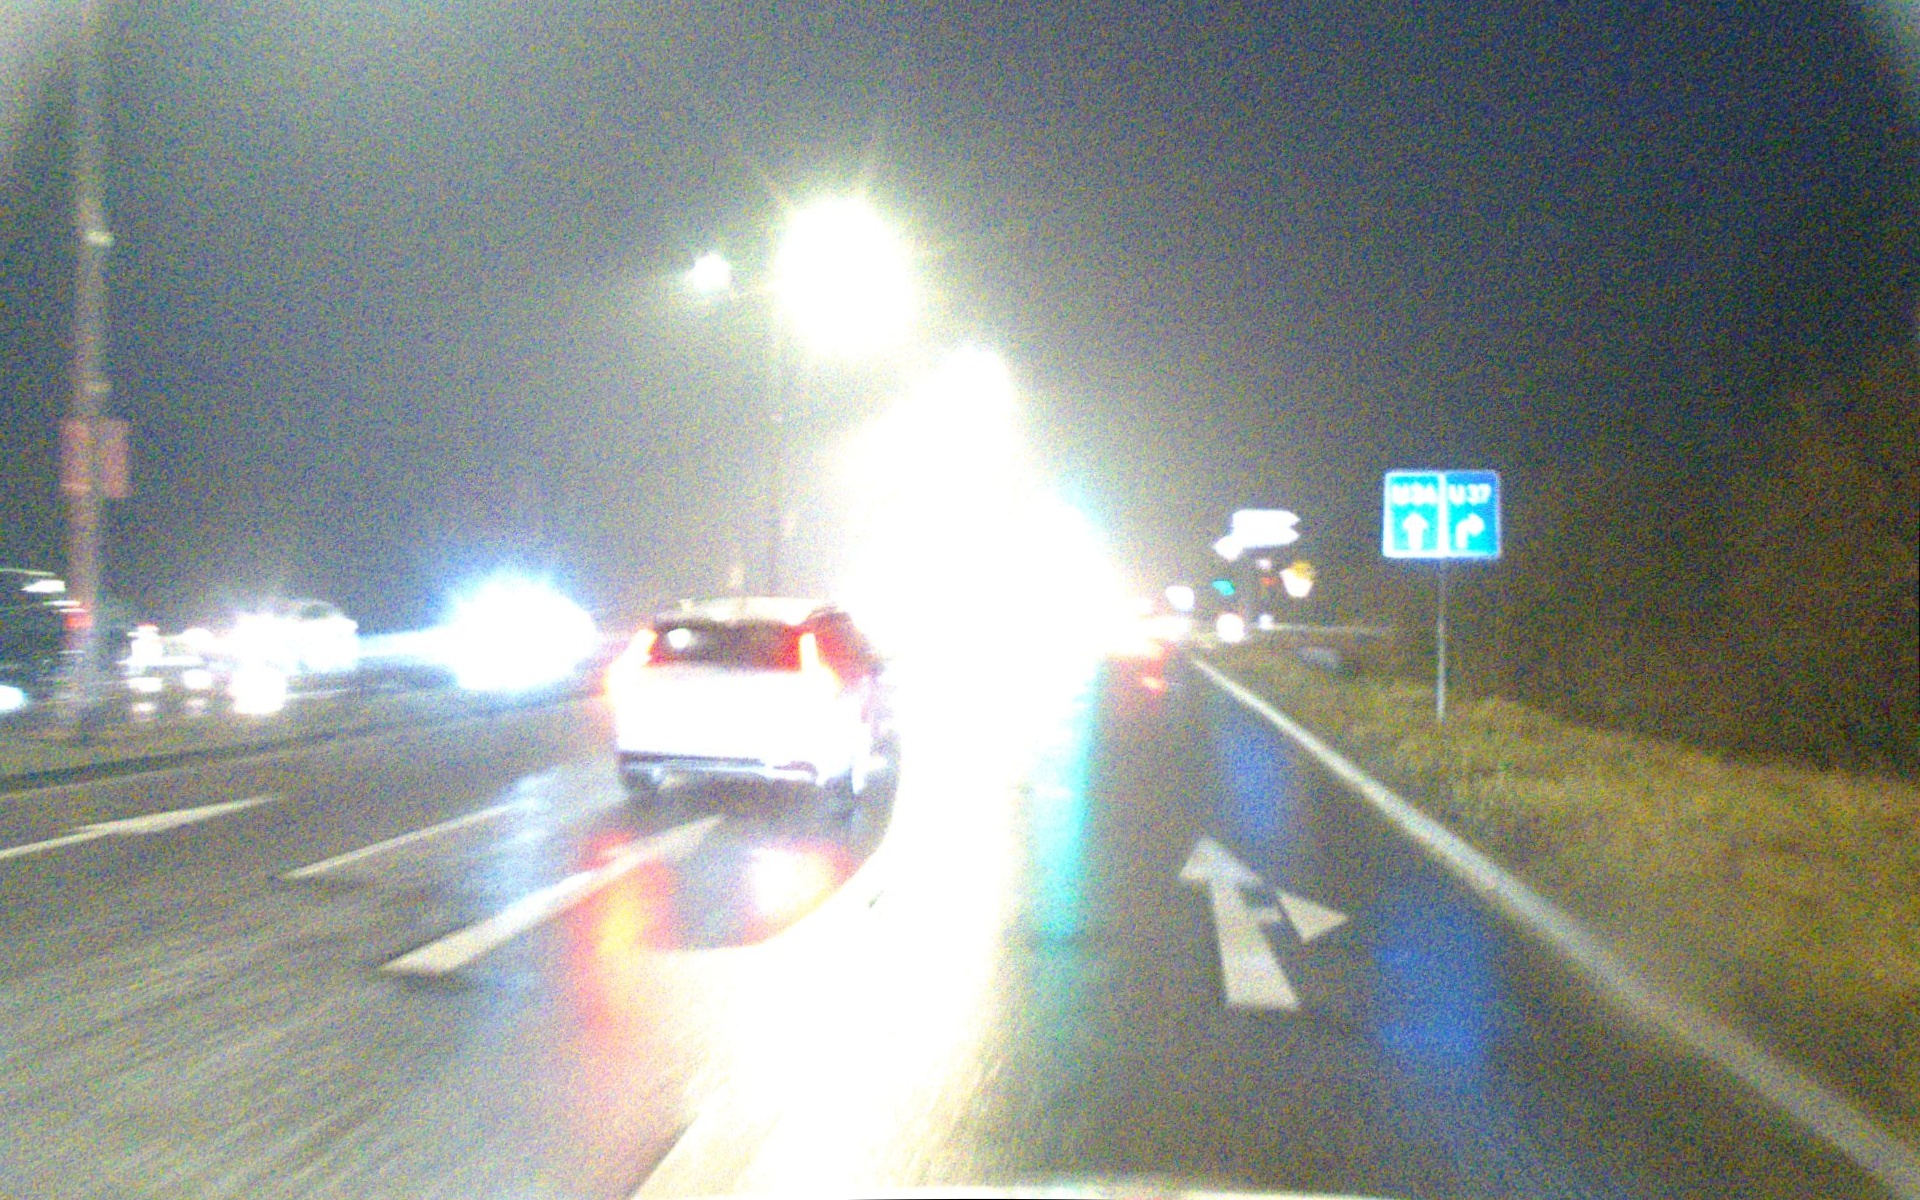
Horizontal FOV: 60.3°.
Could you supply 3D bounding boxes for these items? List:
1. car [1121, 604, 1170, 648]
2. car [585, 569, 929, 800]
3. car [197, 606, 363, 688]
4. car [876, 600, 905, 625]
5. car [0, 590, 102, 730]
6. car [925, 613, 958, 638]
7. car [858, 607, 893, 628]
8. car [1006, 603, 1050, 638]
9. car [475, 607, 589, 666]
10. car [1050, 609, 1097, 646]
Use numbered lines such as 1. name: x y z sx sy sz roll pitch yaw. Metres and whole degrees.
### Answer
1. car: 8.300 1.193 73.735 1.870 1.629 4.002 5 -2 9
2. car: -1.444 0.657 13.517 1.758 1.477 4.271 3 -2 7
3. car: -14.556 0.958 35.641 1.461 1.630 4.148 1 0 6
4. car: -5.565 1.025 132.436 1.725 1.925 4.208 1 0 6
5. car: -12.524 0.664 19.779 1.760 1.695 4.490 3 -2 6
6. car: -1.145 1.571 102.960 1.556 1.452 3.353 1 0 7
7. car: -5.137 1.054 100.914 1.609 1.224 3.617 1 0 5
8. car: 3.959 1.204 95.569 2.132 1.629 4.002 5 -2 6
9. car: -12.598 1.117 48.923 1.844 1.557 4.433 3 -2 4
10. car: 6.062 1.491 87.913 2.132 1.629 4.002 5 -2 7
